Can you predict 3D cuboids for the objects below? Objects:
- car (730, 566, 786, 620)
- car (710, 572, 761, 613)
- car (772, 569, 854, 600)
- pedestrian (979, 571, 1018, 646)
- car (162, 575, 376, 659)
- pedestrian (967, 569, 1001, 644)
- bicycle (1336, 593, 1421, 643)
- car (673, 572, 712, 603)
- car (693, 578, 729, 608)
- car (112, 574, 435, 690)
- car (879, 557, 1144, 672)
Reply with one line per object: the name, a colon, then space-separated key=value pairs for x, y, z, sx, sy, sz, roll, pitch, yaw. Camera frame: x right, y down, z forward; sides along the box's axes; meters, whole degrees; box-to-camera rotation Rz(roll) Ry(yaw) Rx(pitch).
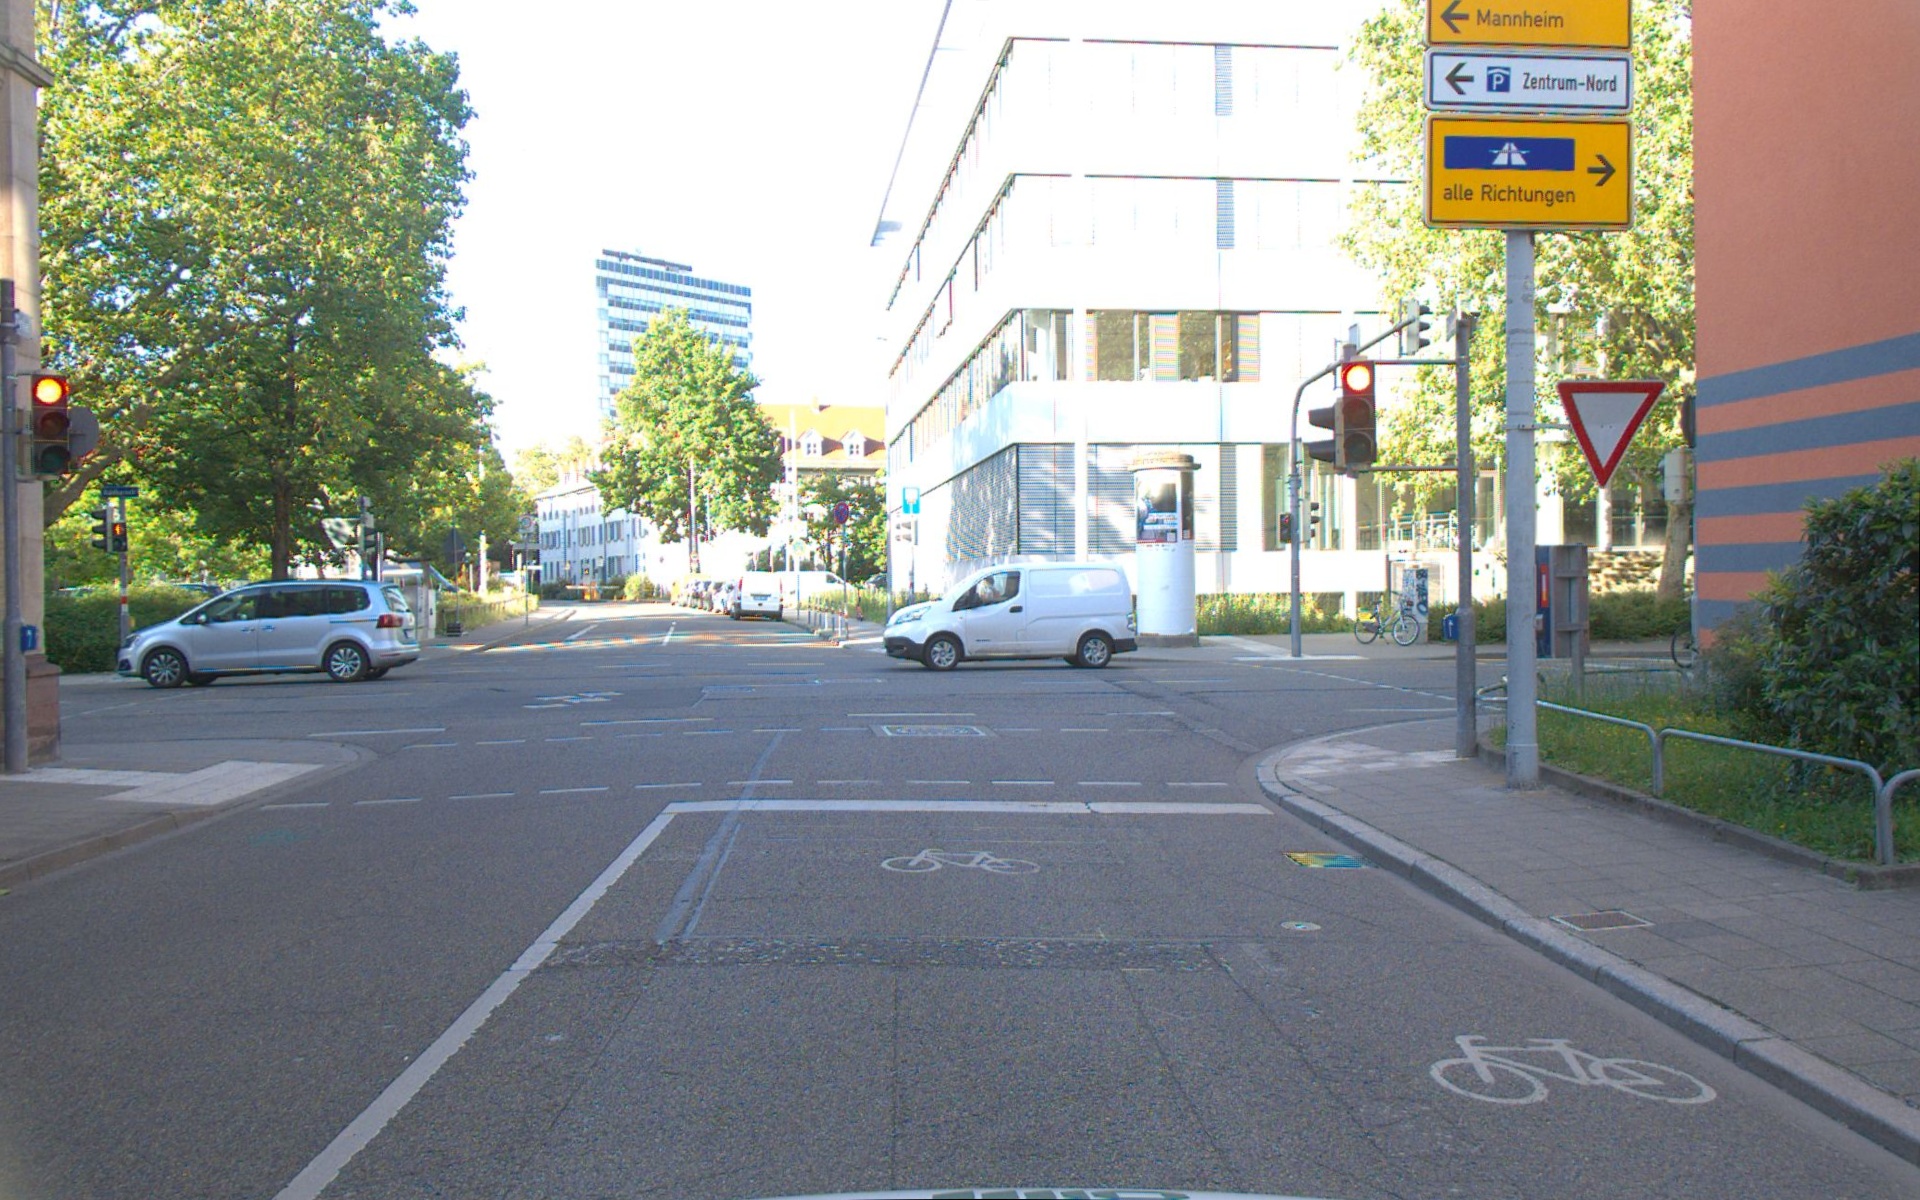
car: x=-7.921 y=-0.302 z=64.627 sx=2.029 sy=1.997 sz=4.229 roll=-1 pitch=1 yaw=-9
car: x=-10.402 y=-0.377 z=76.409 sx=1.913 sy=1.826 sz=4.224 roll=-1 pitch=1 yaw=-13
car: x=-9.131 y=-0.944 z=102.822 sx=4.804 sy=1.905 sz=1.990 roll=1 pitch=0 yaw=-18
pedestrian: x=0.836 y=0.182 z=36.164 sx=0.697 sy=1.627 sz=0.618 roll=-1 pitch=0 yaw=17
car: x=-15.799 y=0.358 z=38.004 sx=4.146 sy=1.808 sz=1.901 roll=-1 pitch=1 yaw=-9
pedestrian: x=0.574 y=0.143 z=39.341 sx=0.638 sy=1.766 sz=0.813 roll=-1 pitch=0 yaw=10
bicycle: x=9.190 y=0.392 z=36.372 sx=0.460 sy=1.067 sz=1.886 roll=-1 pitch=1 yaw=-42
car: x=-15.468 y=-0.734 z=95.523 sx=2.063 sy=1.686 sz=4.463 roll=-1 pitch=1 yaw=-12
car: x=-12.929 y=-0.397 z=85.742 sx=1.674 sy=1.489 sz=4.226 roll=-1 pitch=1 yaw=-11
car: x=-11.515 y=0.505 z=28.035 sx=4.668 sy=1.736 sz=1.797 roll=-2 pitch=1 yaw=-7
car: x=0.868 y=0.223 z=29.326 sx=4.454 sy=1.831 sz=1.634 roll=-2 pitch=1 yaw=-8
